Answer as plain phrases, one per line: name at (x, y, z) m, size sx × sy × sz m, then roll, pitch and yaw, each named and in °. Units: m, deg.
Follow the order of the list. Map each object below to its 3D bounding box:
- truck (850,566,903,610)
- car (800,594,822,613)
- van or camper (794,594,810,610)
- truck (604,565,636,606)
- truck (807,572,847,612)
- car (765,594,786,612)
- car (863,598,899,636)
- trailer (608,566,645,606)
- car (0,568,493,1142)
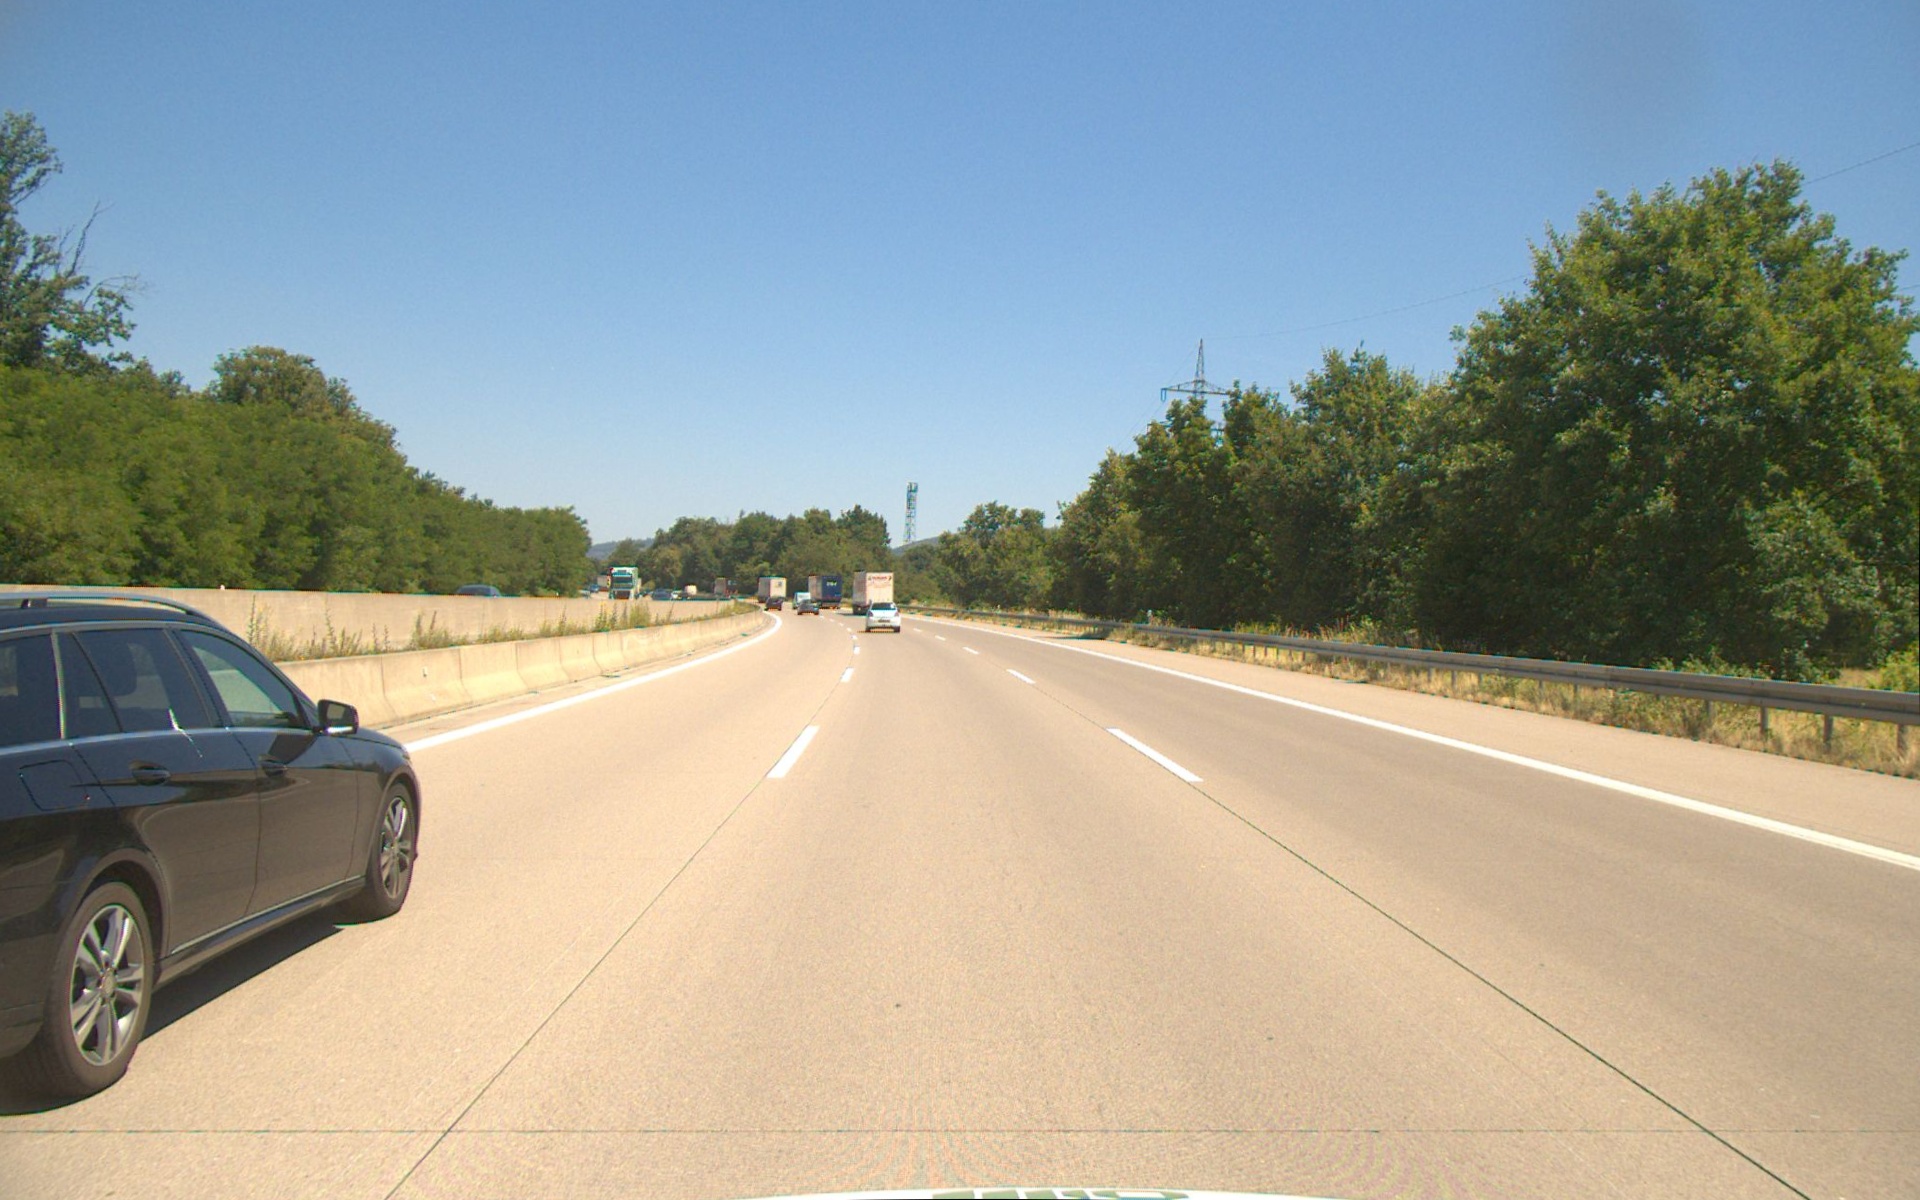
truck at (-8.048, -1.065, 156.861) m, size 3.749 × 3.958 × 14.126 m, roll 0°, pitch 0°, yaw -8°
car at (-13.804, 0.340, 152.824) m, size 1.582 × 1.755 × 3.562 m, roll 0°, pitch 0°, yaw -12°
van or camper at (-18.908, 0.201, 197.759) m, size 1.831 × 1.870 × 3.996 m, roll 0°, pitch 0°, yaw -5°
truck at (-34.376, -1.446, 167.494) m, size 2.614 × 4.004 × 5.960 m, roll 0°, pitch 0°, yaw -7°
truck at (-16.986, -0.986, 210.431) m, size 3.836 × 4.824 × 14.018 m, roll 0°, pitch 0°, yaw -10°
car at (-20.669, 0.332, 185.047) m, size 1.986 × 1.729 × 3.991 m, roll 6°, pitch 0°, yaw -10°
car at (-3.931, 0.822, 82.449) m, size 1.609 × 1.690 × 3.358 m, roll 5°, pitch 0°, yaw -3°
trailer at (-35.184, -1.425, 174.876) m, size 2.631 × 4.004 × 13.227 m, roll 0°, pitch 0°, yaw -7°
car at (-3.471, 0.650, 6.369) m, size 1.852 × 1.499 × 5.602 m, roll 1°, pitch 0°, yaw -1°
